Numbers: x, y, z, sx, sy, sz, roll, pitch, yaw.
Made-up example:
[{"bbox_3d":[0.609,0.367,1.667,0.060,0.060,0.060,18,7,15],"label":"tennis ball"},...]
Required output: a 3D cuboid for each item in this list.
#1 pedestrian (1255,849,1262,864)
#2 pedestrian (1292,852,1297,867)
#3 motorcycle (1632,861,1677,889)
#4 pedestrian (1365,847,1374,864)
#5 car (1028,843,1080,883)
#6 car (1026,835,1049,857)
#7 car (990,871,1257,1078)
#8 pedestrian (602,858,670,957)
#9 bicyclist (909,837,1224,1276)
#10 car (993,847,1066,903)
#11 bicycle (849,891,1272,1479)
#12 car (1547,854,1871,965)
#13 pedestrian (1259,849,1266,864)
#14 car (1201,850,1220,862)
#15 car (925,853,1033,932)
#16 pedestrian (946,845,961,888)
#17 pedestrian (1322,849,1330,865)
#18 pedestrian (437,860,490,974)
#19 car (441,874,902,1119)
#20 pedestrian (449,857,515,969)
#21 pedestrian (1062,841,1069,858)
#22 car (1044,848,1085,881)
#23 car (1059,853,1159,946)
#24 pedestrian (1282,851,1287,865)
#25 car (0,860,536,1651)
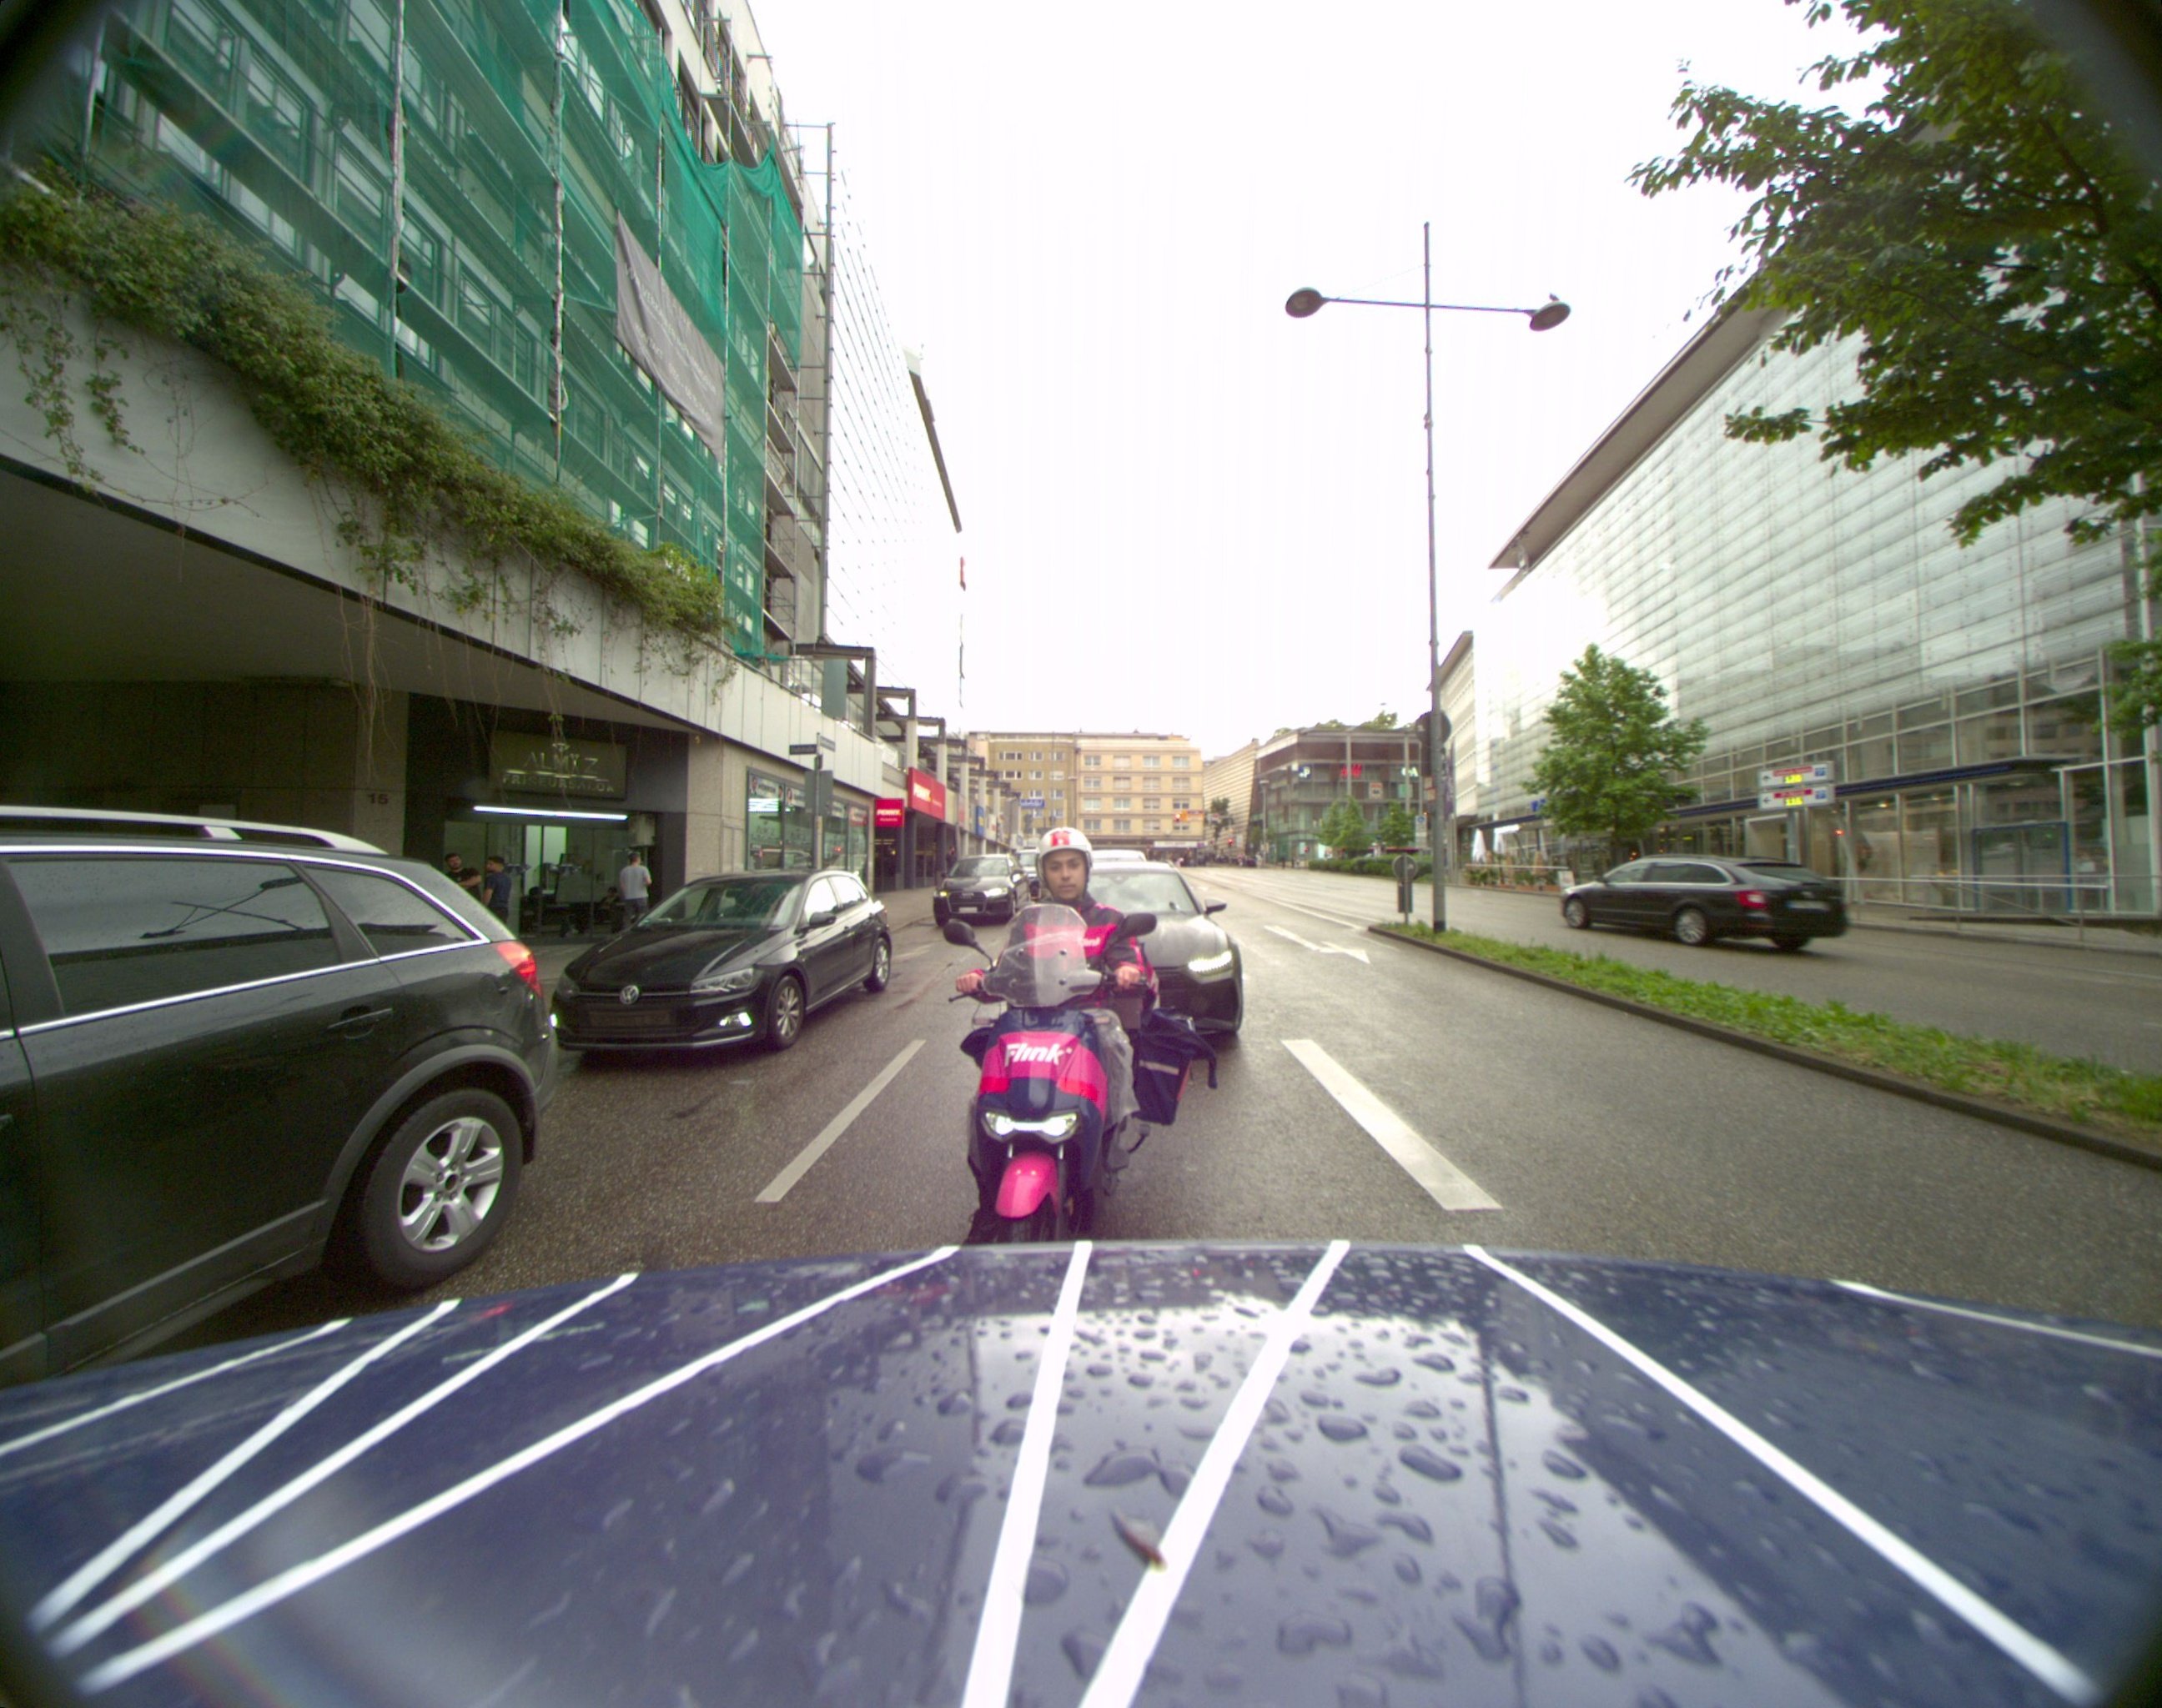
[{"bbox_3d":[19.320,0.262,82.593,0.633,1.620,0.602,0,1,2],"label":"pedestrian"},{"bbox_3d":[23.616,0.623,84.039,0.428,1.620,0.602,1,1,5],"label":"pedestrian"},{"bbox_3d":[28.173,1.024,37.348,1.707,1.319,0.620,0,1,1],"label":"motorcycle"},{"bbox_3d":[31.443,0.167,82.800,0.626,1.764,0.689,-2,2,5],"label":"pedestrian"},{"bbox_3d":[-1.174,0.407,35.106,1.988,1.696,4.165,-2,0,2],"label":"car"},{"bbox_3d":[-4.205,-0.804,73.528,1.605,2.002,3.400,-2,1,7],"label":"car"},{"bbox_3d":[0.390,0.927,7.596,1.890,1.391,4.165,-2,-1,2],"label":"car"},{"bbox_3d":[-7.727,0.909,13.197,0.732,1.633,0.640,-1,2,25],"label":"pedestrian"},{"bbox_3d":[-0.044,0.716,3.104,1.063,1.534,0.825,-2,2,0],"label":"bicyclist"},{"bbox_3d":[-1.686,0.679,26.093,1.988,1.696,4.165,-2,0,2],"label":"car"},{"bbox_3d":[-0.033,0.925,3.409,1.034,1.279,2.948,-2,1,1],"label":"bicycle"},{"bbox_3d":[10.502,0.805,13.318,1.637,1.477,4.736,1,1,-1],"label":"car"},{"bbox_3d":[19.459,0.260,81.654,0.633,1.620,0.602,1,1,4],"label":"pedestrian"},{"bbox_3d":[23.081,0.340,135.734,2.000,2.002,4.584,0,1,-7],"label":"car"},{"bbox_3d":[-2.329,0.822,18.393,1.841,1.598,4.164,-2,1,2],"label":"car"},{"bbox_3d":[-5.093,0.499,30.334,0.510,1.669,0.579,0,2,0],"label":"pedestrian"},{"bbox_3d":[27.379,0.328,84.973,0.626,1.764,0.689,-2,2,7],"label":"pedestrian"},{"bbox_3d":[-9.552,0.952,11.759,0.466,1.698,0.484,0,2,42],"label":"pedestrian"},{"bbox_3d":[-3.189,0.996,7.050,1.758,1.495,4.165,-2,-1,4],"label":"car"},{"bbox_3d":[-8.889,0.847,11.308,0.640,1.586,0.576,-3,2,-32],"label":"pedestrian"},{"bbox_3d":[-1.505,-0.424,71.935,0.634,1.620,0.602,0,1,-1],"label":"pedestrian"},{"bbox_3d":[-0.860,0.602,42.589,1.988,1.696,4.165,-2,0,2],"label":"car"},{"bbox_3d":[0.569,0.785,15.146,1.675,1.520,4.164,-2,1,2],"label":"car"},{"bbox_3d":[23.260,0.471,86.999,0.428,1.620,0.602,1,1,3],"label":"pedestrian"},{"bbox_3d":[-3.315,0.916,1.237,1.764,1.755,4.164,-2,0,1],"label":"car"}]
